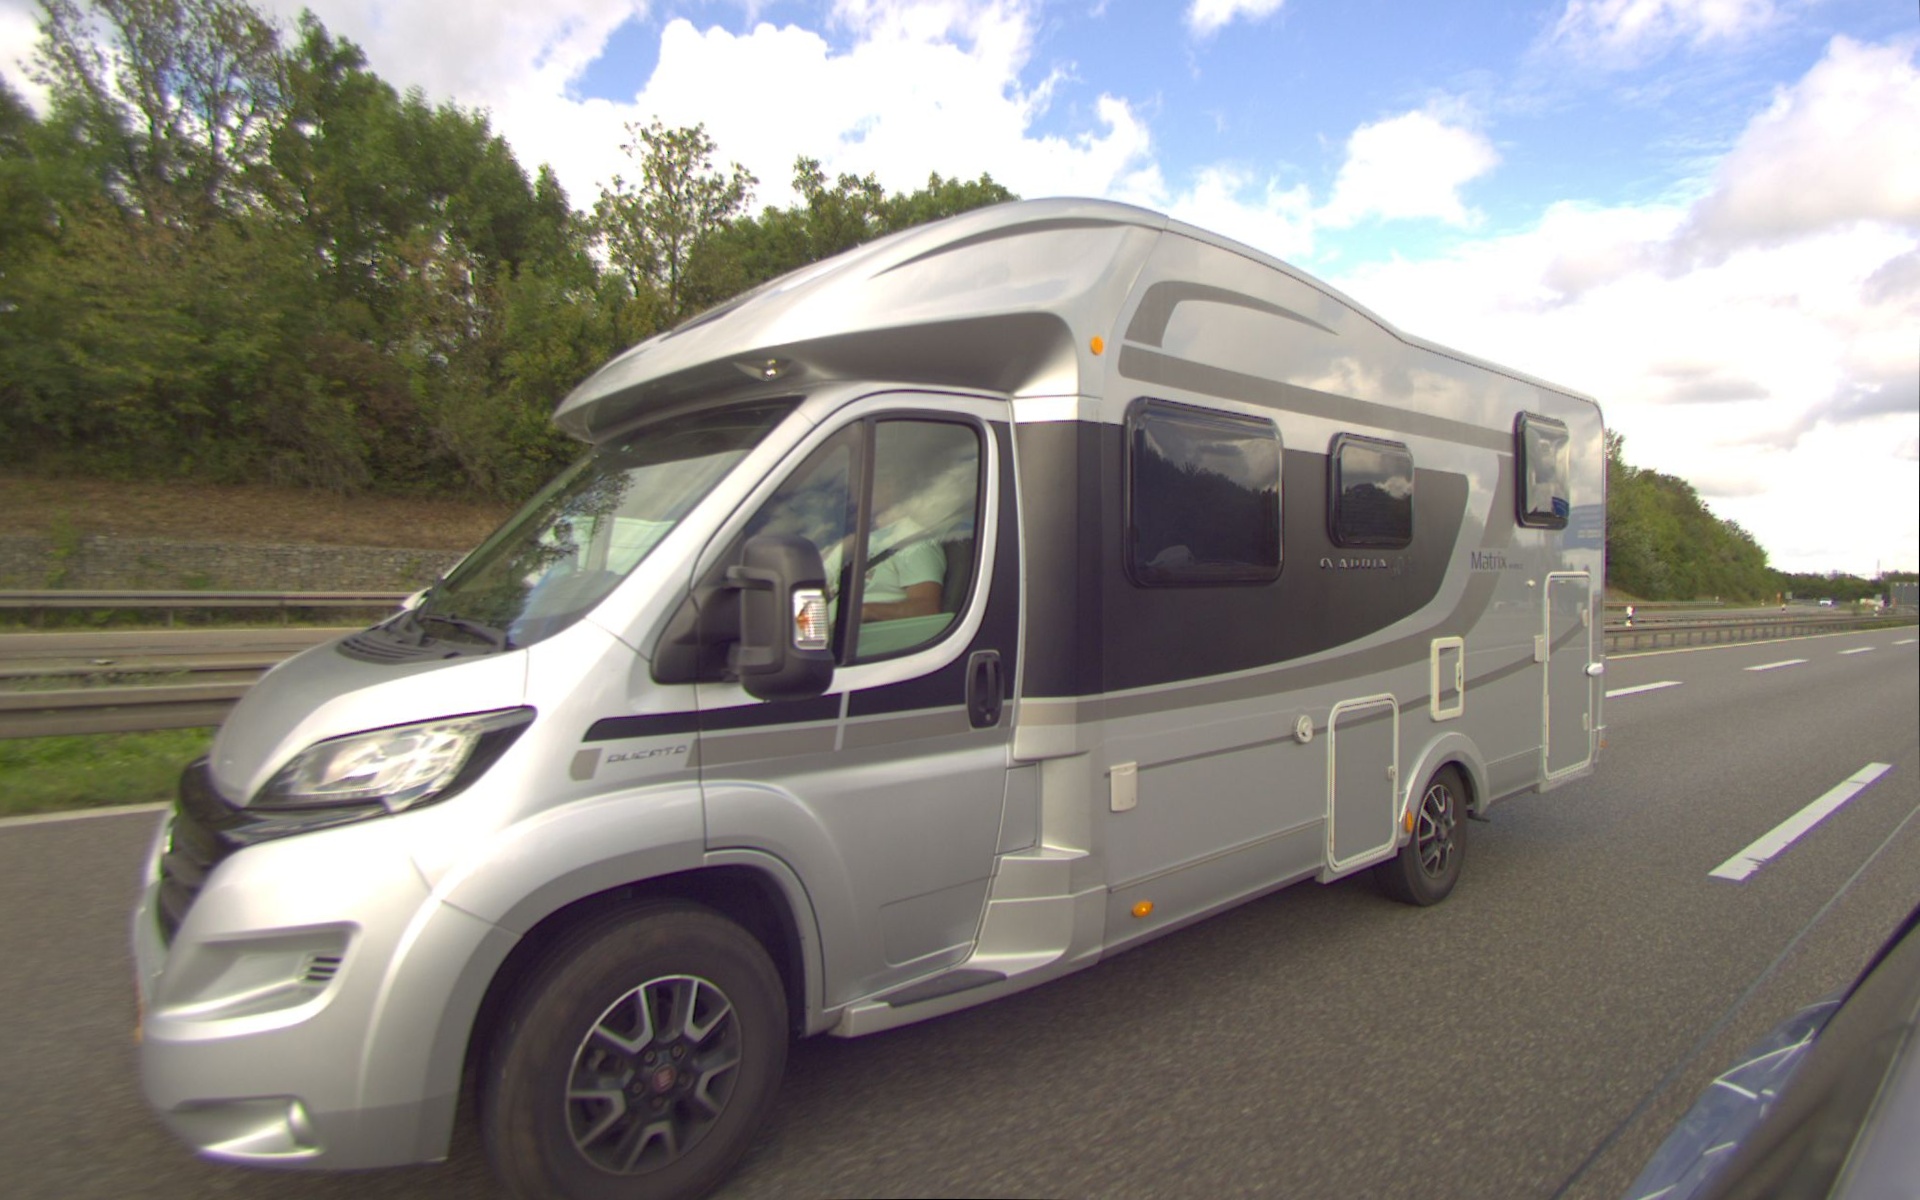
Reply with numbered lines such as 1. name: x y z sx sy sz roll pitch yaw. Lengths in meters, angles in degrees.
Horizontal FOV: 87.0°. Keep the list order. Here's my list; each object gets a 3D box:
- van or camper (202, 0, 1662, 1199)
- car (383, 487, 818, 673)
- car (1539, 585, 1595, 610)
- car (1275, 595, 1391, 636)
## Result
1. van or camper: 0.972 0.016 5.103 7.527 2.756 2.473 0 0 -41
2. car: -5.769 -0.305 17.112 6.627 2.586 2.073 0 2 -42
3. car: 37.078 -0.129 61.744 4.095 1.433 1.715 1 1 -41
4. car: 11.906 0.455 32.185 4.096 1.196 1.715 0 1 -41
